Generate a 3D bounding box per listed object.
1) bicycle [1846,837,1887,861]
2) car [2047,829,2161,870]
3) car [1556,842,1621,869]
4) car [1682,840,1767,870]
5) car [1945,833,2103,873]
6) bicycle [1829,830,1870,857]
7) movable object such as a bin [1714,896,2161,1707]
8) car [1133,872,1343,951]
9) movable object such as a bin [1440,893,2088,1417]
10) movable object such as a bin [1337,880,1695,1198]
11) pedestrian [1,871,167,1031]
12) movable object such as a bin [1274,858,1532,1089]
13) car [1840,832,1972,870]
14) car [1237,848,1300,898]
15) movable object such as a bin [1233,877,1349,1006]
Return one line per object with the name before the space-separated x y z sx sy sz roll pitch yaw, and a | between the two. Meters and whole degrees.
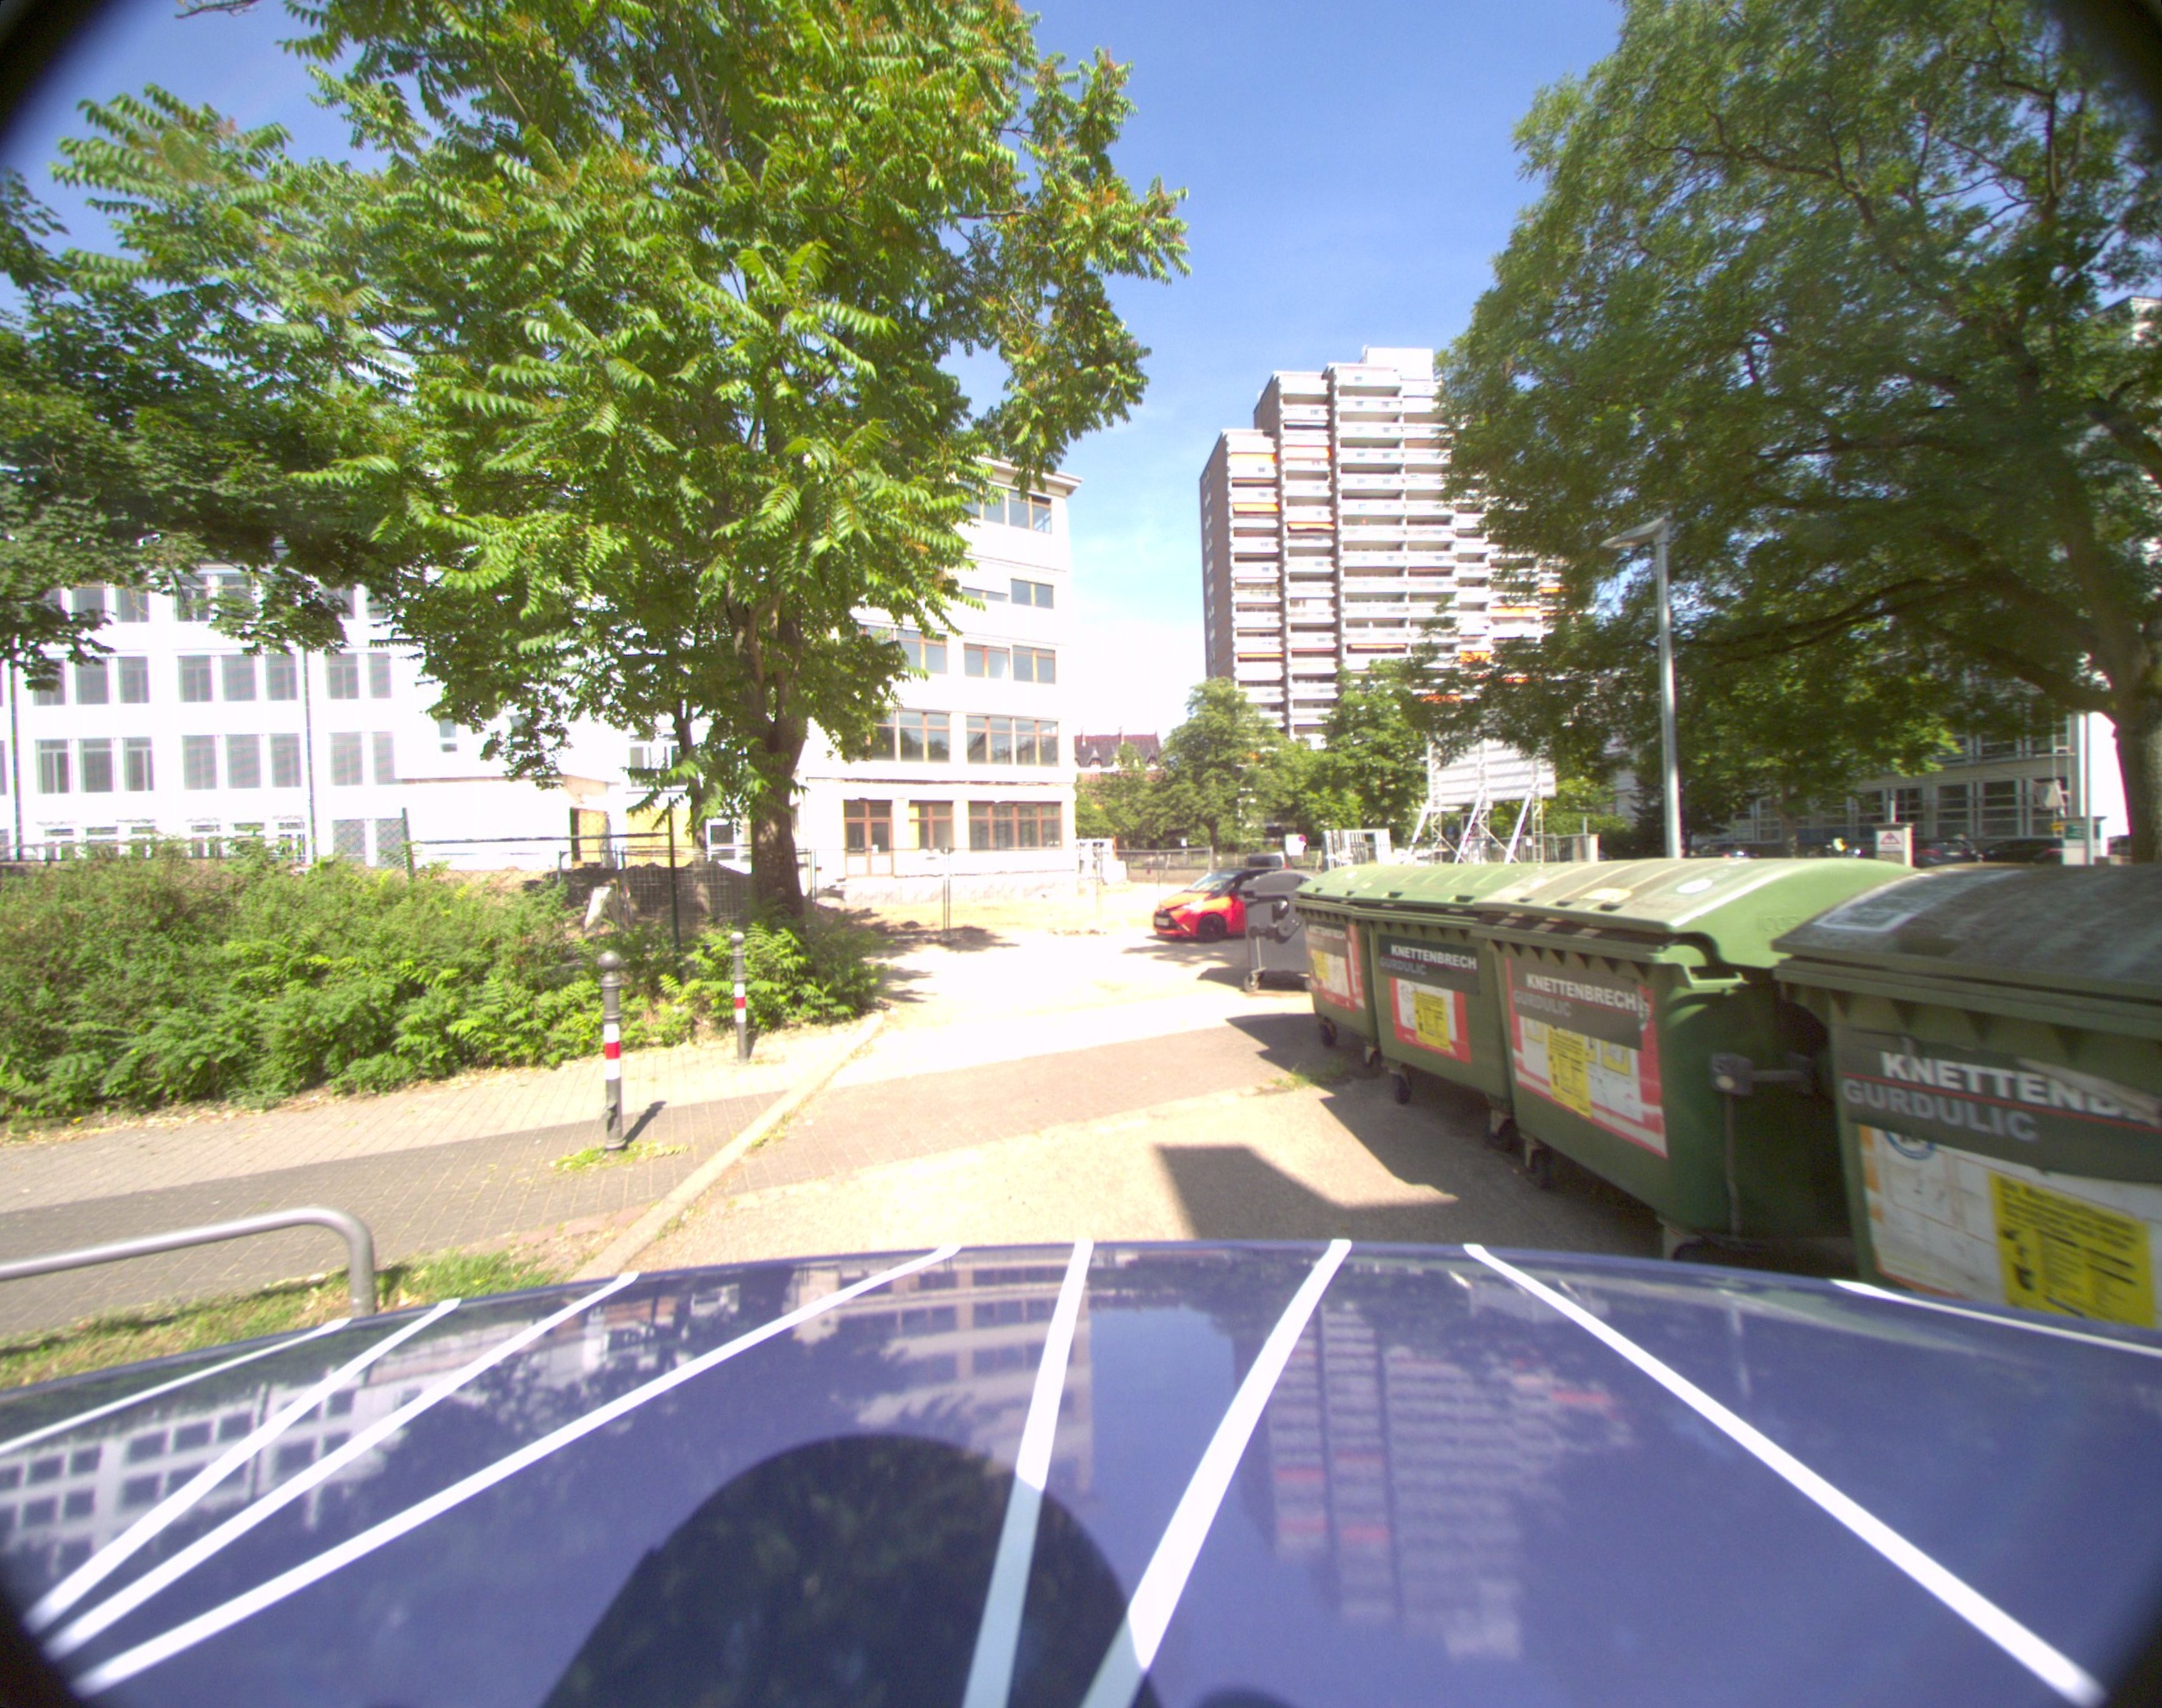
bicycle | 41.304 -0.259 39.943 2.017 1.193 0.489 -2 0 -11
car | 40.360 -0.199 29.157 1.799 1.477 4.344 -1 0 14
car | 30.011 0.048 45.092 1.840 1.402 4.150 -3 1 14
car | 33.363 0.030 39.530 1.651 1.443 4.004 -2 0 12
car | 38.571 -0.041 31.253 1.798 1.467 4.189 -1 0 11
bicycle | 41.357 -0.563 40.894 2.017 1.370 0.489 -2 1 -11
movable object such as a bin | 2.386 0.847 1.420 1.248 1.423 1.349 -2 0 -3
car | 3.339 1.129 16.068 4.181 1.404 1.659 -1 0 -26
movable object such as a bin | 2.365 0.917 2.932 1.248 1.423 1.365 -2 0 -3
movable object such as a bin | 2.370 0.898 4.321 1.249 1.423 1.222 -2 1 -14
pedestrian | -11.414 1.068 8.735 0.854 1.717 0.757 -1 0 -10
movable object such as a bin | 2.331 0.786 5.727 1.248 1.473 1.338 -2 0 -8
car | 36.740 -0.116 34.036 1.805 1.556 4.395 -2 0 13
car | 7.520 0.697 30.196 1.918 1.770 4.318 -3 0 20
movable object such as a bin | 2.572 1.020 9.346 1.246 1.388 1.406 -2 0 15
